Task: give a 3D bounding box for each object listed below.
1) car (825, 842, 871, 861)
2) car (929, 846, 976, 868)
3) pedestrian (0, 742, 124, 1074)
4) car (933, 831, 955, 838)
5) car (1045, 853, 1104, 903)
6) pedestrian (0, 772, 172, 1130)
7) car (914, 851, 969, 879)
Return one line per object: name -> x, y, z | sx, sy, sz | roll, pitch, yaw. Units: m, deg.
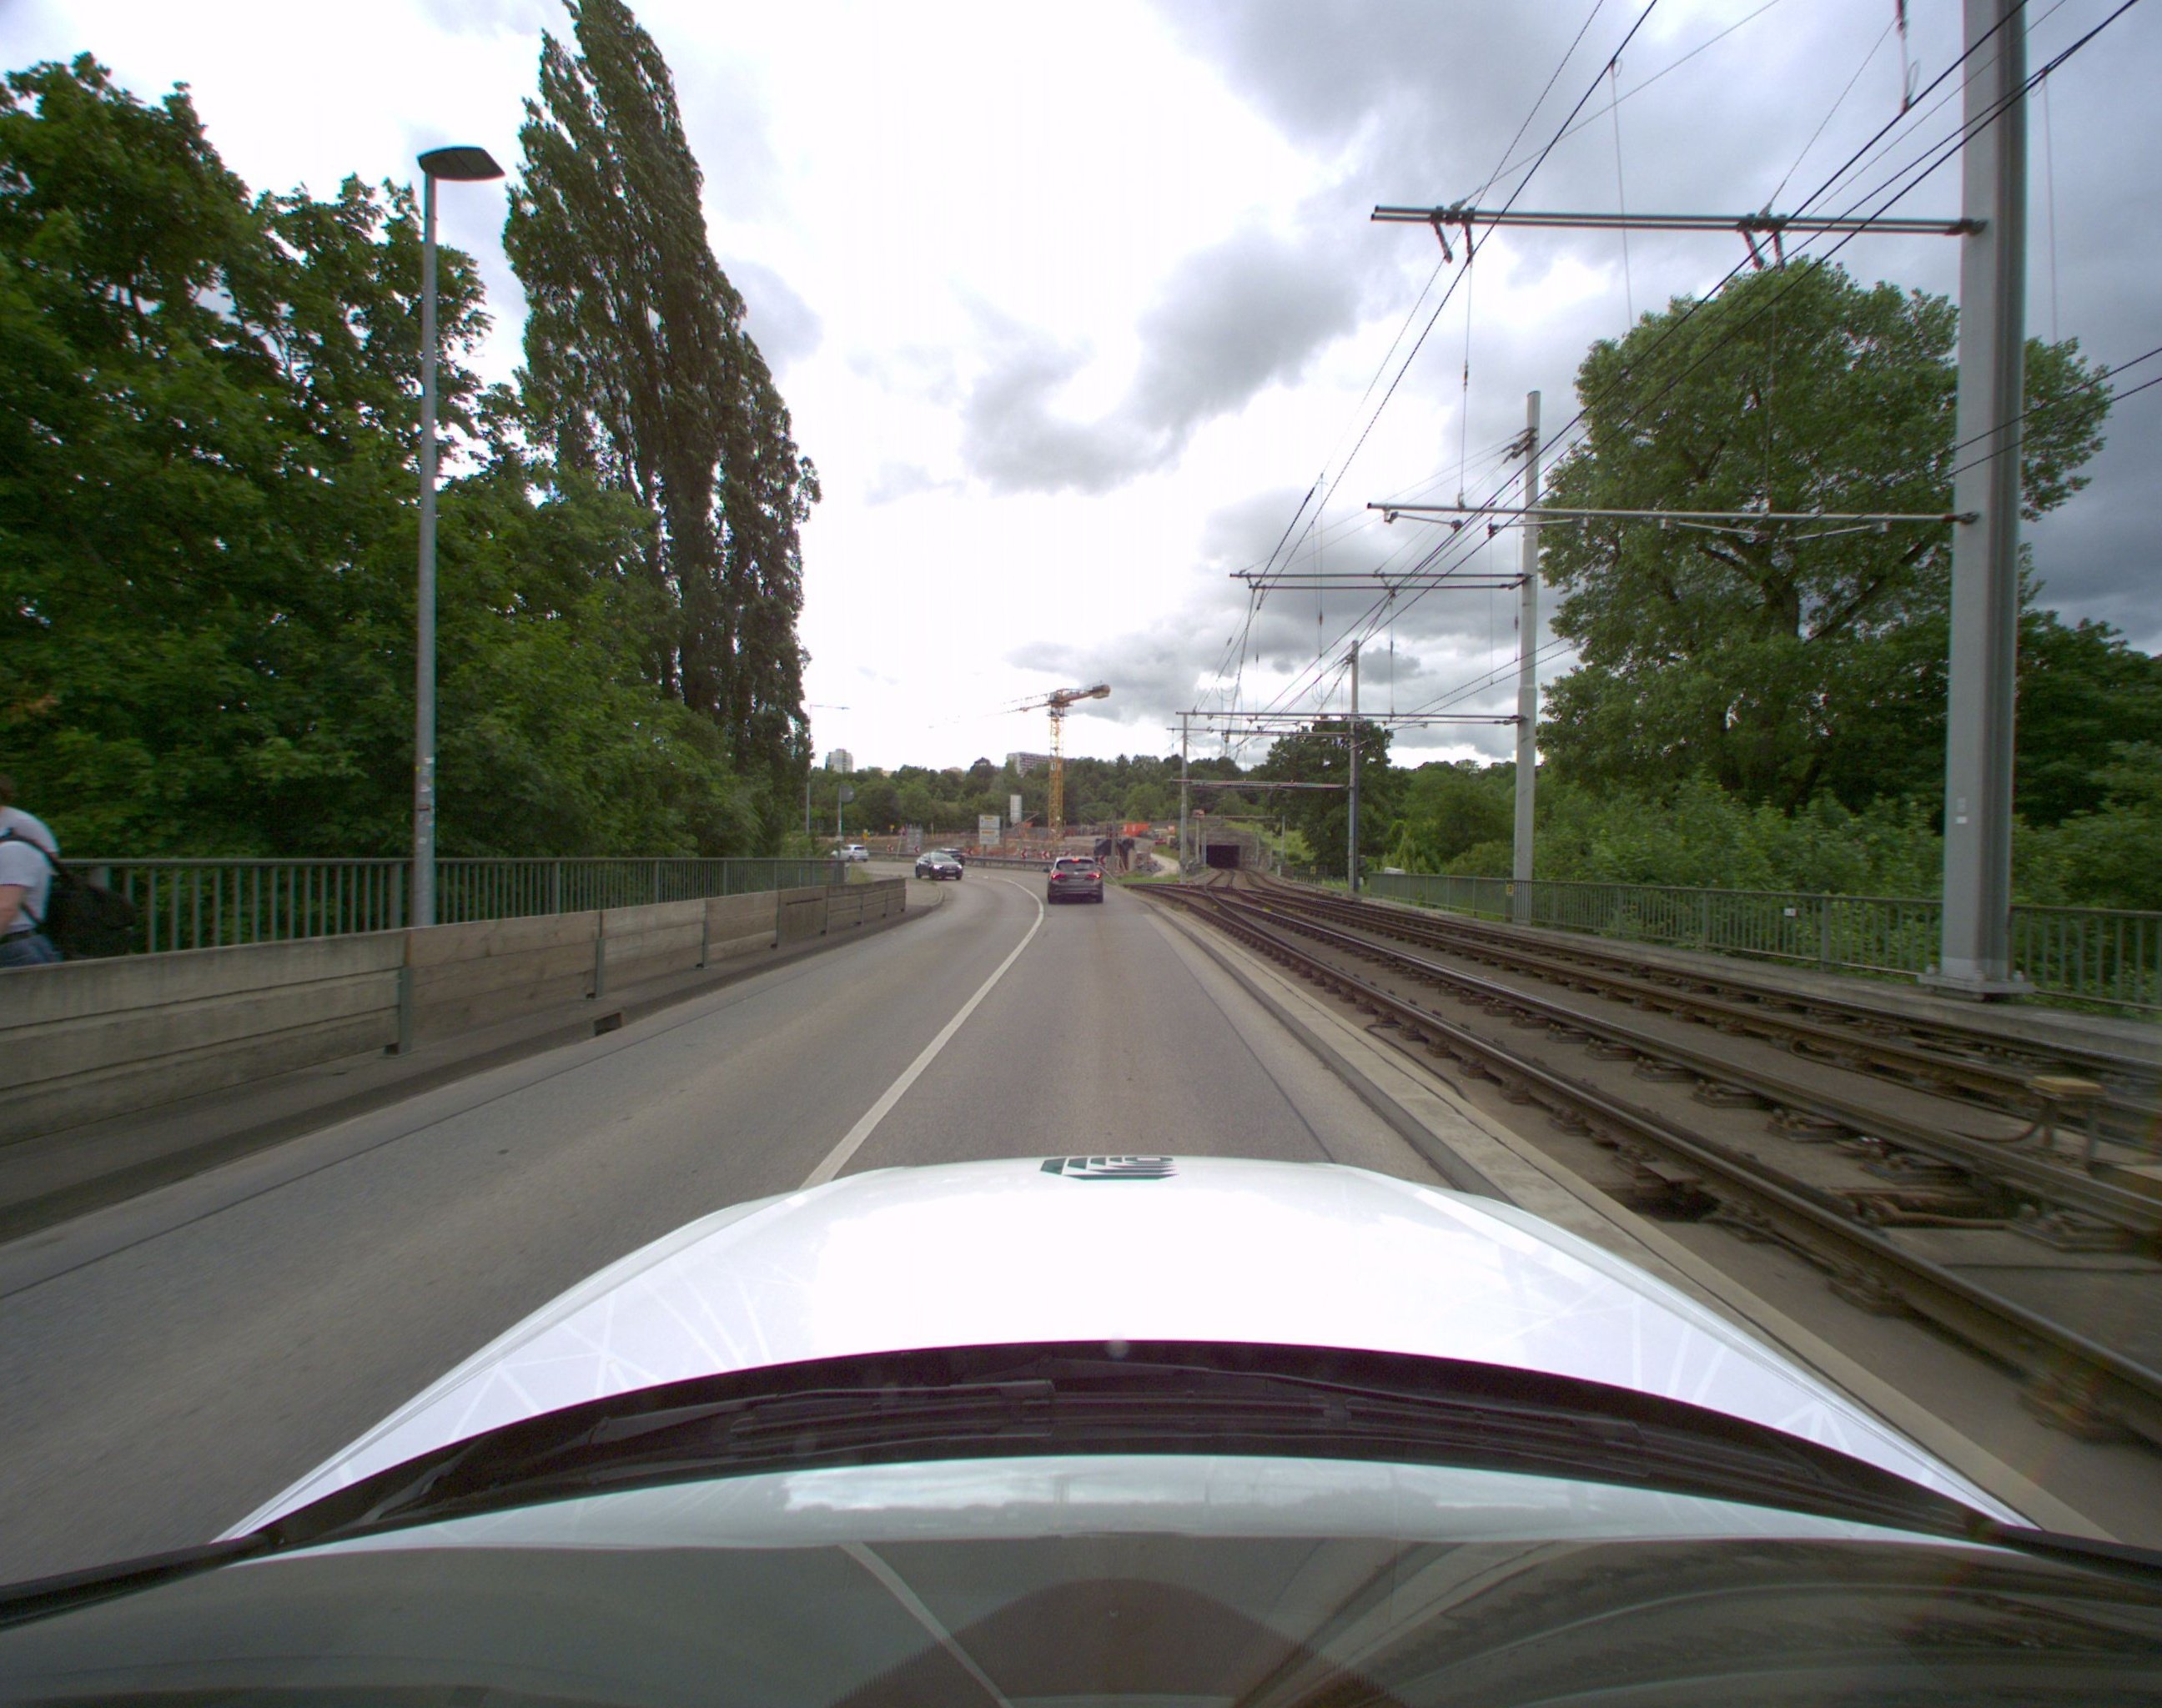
car -> -20.640, -0.250, 72.085 | 4.253, 1.606, 1.696 | 1, 1, 38
car -> -9.733, 0.207, 61.537 | 1.693, 1.606, 4.261 | -1, 1, -37
pedestrian -> -6.339, 0.292, 4.719 | 0.718, 1.839, 0.723 | 0, 0, 1
car -> -26.687, -3.796, 158.686 | 3.950, 1.409, 1.811 | 2, 0, 28
car -> -0.230, 0.747, 27.440 | 1.824, 1.510, 3.998 | 0, 0, -1
pedestrian -> -5.486, 0.455, 4.226 | 0.718, 1.701, 0.723 | 0, 0, 1
car -> -7.982, 0.591, 46.307 | 1.841, 1.510, 3.963 | -1, 1, -29
